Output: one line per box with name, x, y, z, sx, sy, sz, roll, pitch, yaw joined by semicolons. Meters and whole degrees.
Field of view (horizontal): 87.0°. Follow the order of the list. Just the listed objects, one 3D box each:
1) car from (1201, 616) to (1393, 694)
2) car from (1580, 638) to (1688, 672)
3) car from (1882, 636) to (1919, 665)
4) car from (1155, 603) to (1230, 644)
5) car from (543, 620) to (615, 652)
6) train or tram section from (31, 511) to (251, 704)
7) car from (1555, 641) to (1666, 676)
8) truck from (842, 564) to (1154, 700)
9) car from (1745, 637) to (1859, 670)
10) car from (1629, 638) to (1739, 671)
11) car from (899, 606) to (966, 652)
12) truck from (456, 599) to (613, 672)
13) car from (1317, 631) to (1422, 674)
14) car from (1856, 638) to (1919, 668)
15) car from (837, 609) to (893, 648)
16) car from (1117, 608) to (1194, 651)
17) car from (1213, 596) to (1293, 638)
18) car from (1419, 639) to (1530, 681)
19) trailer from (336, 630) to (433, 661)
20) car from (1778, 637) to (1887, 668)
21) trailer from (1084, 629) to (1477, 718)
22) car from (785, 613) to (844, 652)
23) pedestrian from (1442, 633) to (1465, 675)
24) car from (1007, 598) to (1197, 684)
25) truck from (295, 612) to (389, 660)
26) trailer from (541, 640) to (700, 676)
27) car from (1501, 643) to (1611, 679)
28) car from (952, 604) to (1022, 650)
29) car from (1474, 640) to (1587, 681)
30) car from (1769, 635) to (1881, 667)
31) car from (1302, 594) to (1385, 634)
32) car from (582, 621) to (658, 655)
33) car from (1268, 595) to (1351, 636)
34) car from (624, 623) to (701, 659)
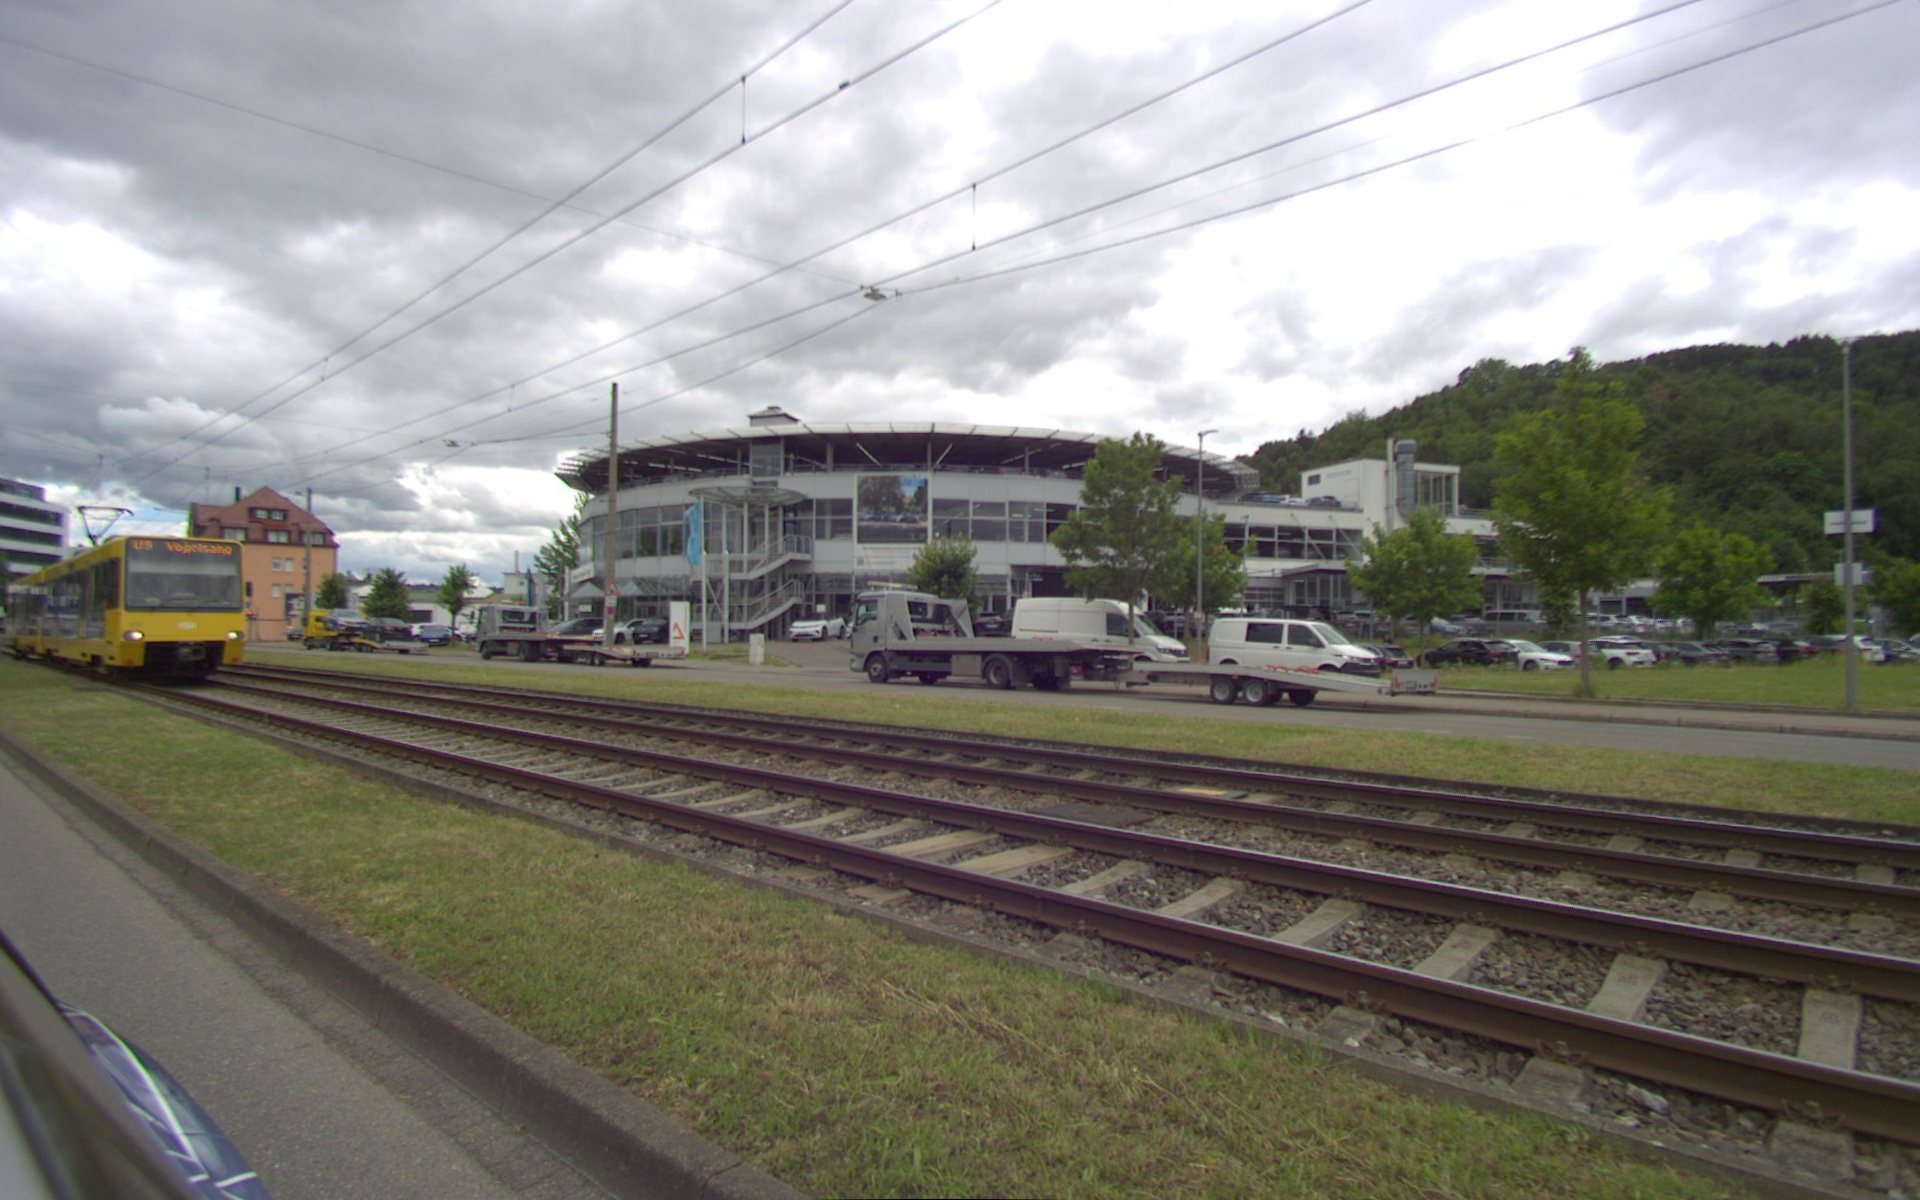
car;9.516;1.514;28.889;4.809;2.029;1.971;-2;-3;45
car;30.387;2.458;45.717;1.649;1.447;3.724;1;-2;-36
car;49.733;2.580;51.550;1.648;1.447;3.727;1;-2;-26
car;12.133;1.250;53.018;1.965;2.029;4.012;1;-2;-19
car;-24.269;2.311;64.545;3.933;1.962;2.005;1;-2;-35
train or tram section;-23.580;0.270;28.461;3.349;4.037;16.957;-1;-1;-44
car;28.448;2.527;44.354;1.649;1.447;3.724;1;-2;-36
truck;0.683;0.892;26.263;2.830;3.004;8.459;4;-5;-44
car;38.933;2.452;46.866;1.649;1.447;3.724;1;-2;-36
car;32.995;2.459;46.183;1.649;1.447;3.724;1;-2;-36
car;-1.310;1.336;46.771;1.965;2.029;4.012;1;-2;-19
truck;-19.256;1.628;45.457;8.962;2.944;3.073;-2;-5;43
car;16.193;2.047;40.223;1.648;1.630;3.728;0;-2;-25
car;47.002;2.609;50.009;1.649;1.447;3.725;1;-2;-34
car;-5.136;1.579;55.270;1.979;2.029;3.986;-1;-2;11
car;9.615;1.465;50.048;1.965;2.029;4.012;1;-2;-19
car;14.896;0.897;51.620;1.965;2.029;4.012;1;-2;-19
car;21.256;2.444;41.917;1.649;1.630;3.724;1;-2;-36
trailer;-33.835;2.615;59.368;7.571;1.701;2.944;-2;-3;44
car;42.819;2.544;49.730;1.649;1.447;3.724;1;-2;-36
trailer;6.243;1.426;20.680;2.726;1.507;7.229;5;-5;-44
car;-7.847;1.746;54.839;1.979;2.029;3.986;-1;-2;11
pedestrian;18.564;2.022;38.057;0.492;1.536;0.613;0;-2;-8
car;4.544;1.319;32.901;5.846;2.580;1.977;-2;-2;34
truck;-39.885;2.311;65.117;9.069;2.881;3.015;-2;-3;44
trailer;-13.491;2.254;39.889;7.007;1.287;3.015;-2;-5;44
car;25.772;2.609;43.875;1.649;1.447;3.724;1;-2;-36
car;1.209;1.276;47.021;1.965;2.029;4.012;1;-2;-19
car;23.838;2.486;42.390;1.649;1.630;3.724;1;-2;-36
car;40.859;2.396;47.868;1.649;1.447;3.724;1;-2;-36
car;20.063;0.778;53.131;1.965;2.029;4.012;1;-2;-19
car;-20.183;2.247;60.241;1.992;1.962;3.958;-1;-2;30
car;18.055;0.851;52.457;1.965;2.029;4.012;1;-2;-19
car;-17.054;2.354;58.111;1.992;1.962;3.958;-1;-2;30
